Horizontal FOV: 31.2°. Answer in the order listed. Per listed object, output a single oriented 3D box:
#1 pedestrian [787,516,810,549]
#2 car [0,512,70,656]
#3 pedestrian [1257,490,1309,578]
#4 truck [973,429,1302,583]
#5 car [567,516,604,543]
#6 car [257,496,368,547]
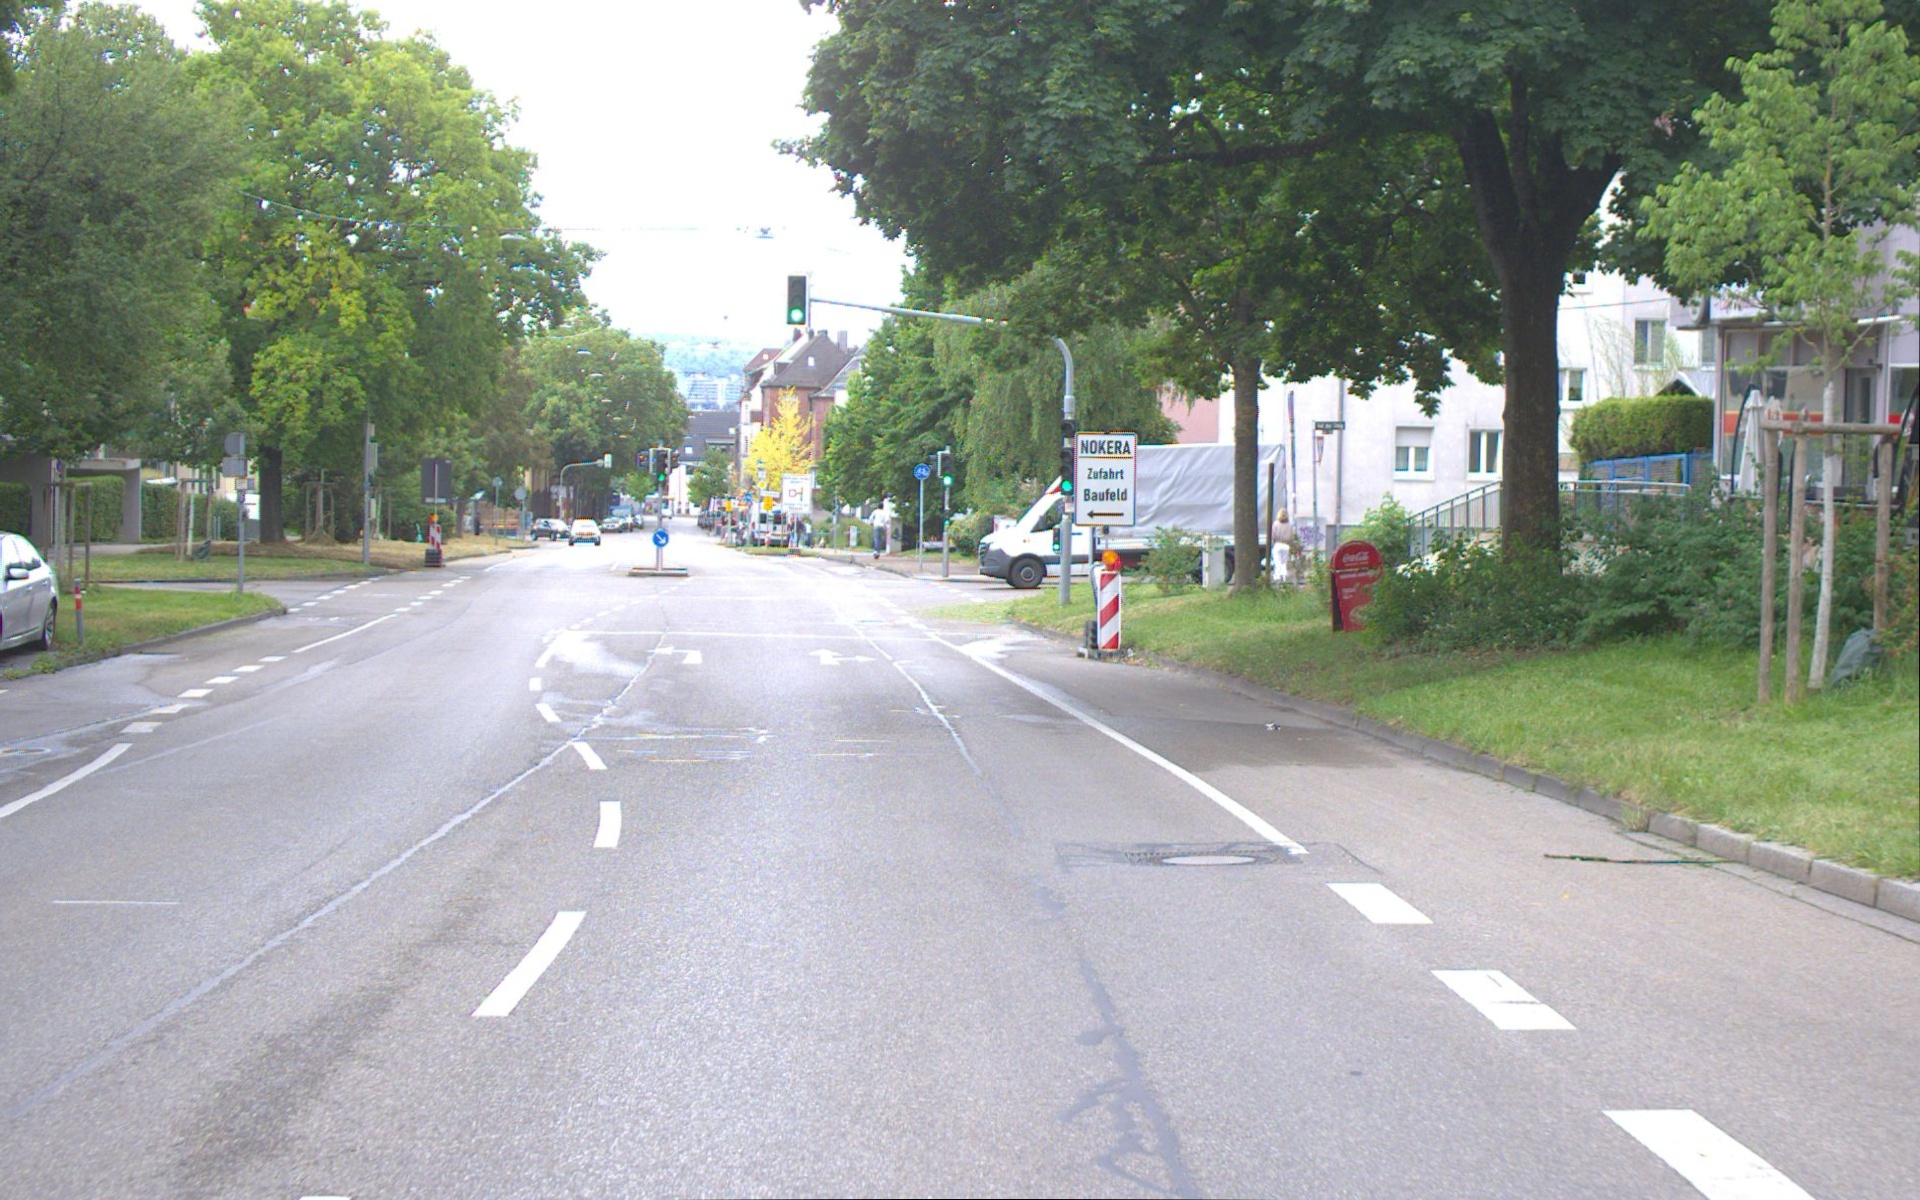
[{"bbox_3d":[-9.114,-3.823,193.670,1.200,1.804,1.301,2,1,-3],"label":"pedestrian"},{"bbox_3d":[-11.784,-0.226,40.096,1.761,1.627,4.753,2,1,-3],"label":"car"},{"bbox_3d":[6.914,-1.427,73.630,0.747,1.848,0.955,-2,2,-19],"label":"pedestrian"},{"bbox_3d":[3.994,-2.149,78.405,7.226,3.295,2.540,1,1,-2],"label":"truck"},{"bbox_3d":[-21.723,-4.076,199.502,1.993,1.500,4.001,2,1,-6],"label":"car"},{"bbox_3d":[-21.626,-2.630,114.905,3.448,1.590,2.000,2,1,-6],"label":"car"}]
